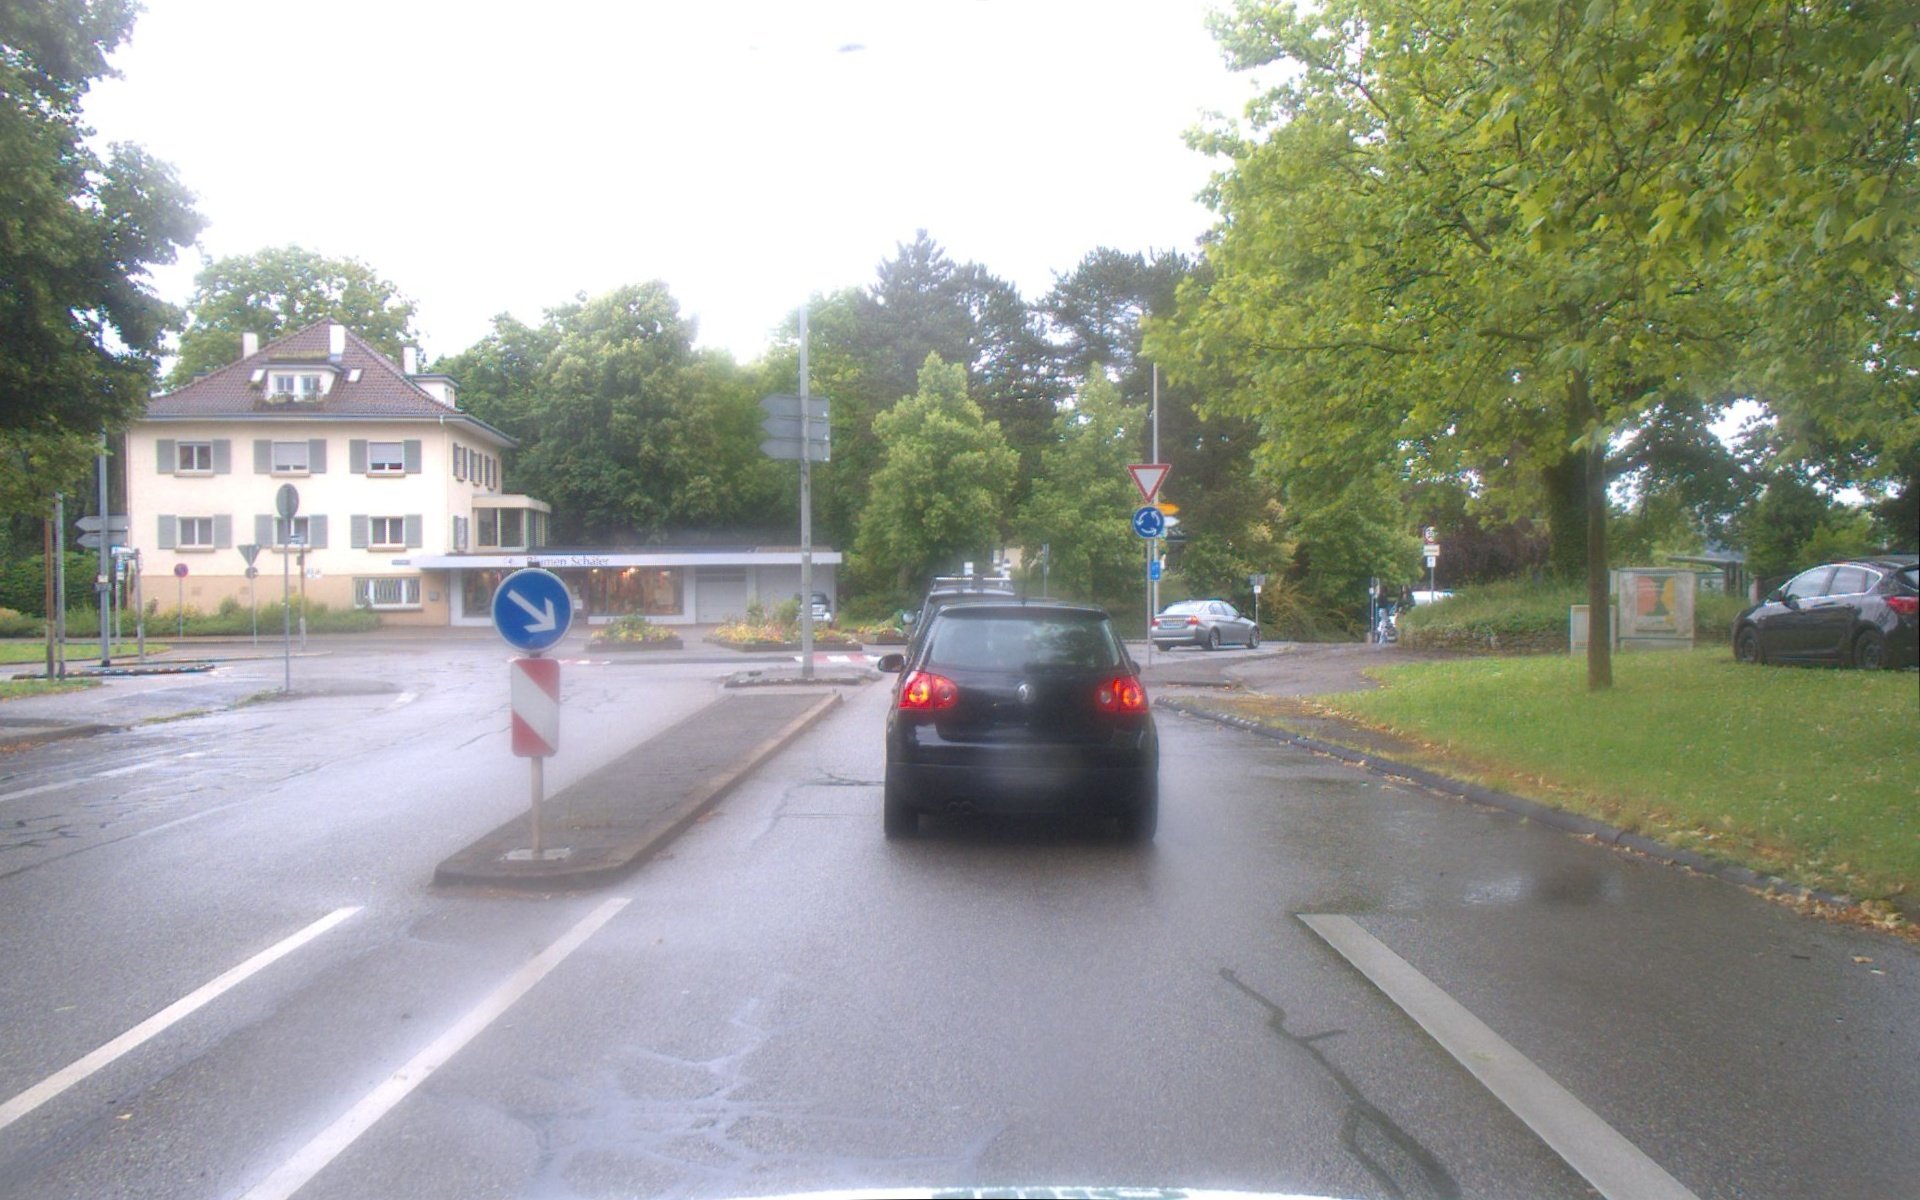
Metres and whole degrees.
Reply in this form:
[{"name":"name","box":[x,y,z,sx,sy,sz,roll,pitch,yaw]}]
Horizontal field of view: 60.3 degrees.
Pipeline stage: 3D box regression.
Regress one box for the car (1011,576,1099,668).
[{"name":"car","box":[2.028,0.458,35.799,1.728,1.833,4.247,-2,0,2]}]

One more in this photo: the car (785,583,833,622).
[{"name":"car","box":[-6.303,0.096,68.755,1.778,1.512,3.824,-2,0,-8]}]

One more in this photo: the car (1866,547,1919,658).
[{"name":"car","box":[13.855,-0.004,21.233,1.809,1.497,4.423,-2,0,-3]}]

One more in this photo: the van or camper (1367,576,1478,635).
[{"name":"van or camper","box":[19.518,0.261,69.640,2.163,2.420,5.630,0,-1,43]}]

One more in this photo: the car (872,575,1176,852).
[{"name":"car","box":[0.486,0.643,11.534,1.728,1.565,4.002,1,0,3]}]

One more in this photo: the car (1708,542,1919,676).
[{"name":"car","box":[11.457,0.082,20.885,1.729,1.497,4.595,-3,0,-3]}]

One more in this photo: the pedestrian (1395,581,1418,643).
[{"name":"pedestrian","box":[12.838,0.346,47.542,0.620,1.743,0.530,1,-1,15]}]

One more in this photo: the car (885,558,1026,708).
[{"name":"car","box":[-0.141,0.426,22.887,1.729,1.833,4.244,-2,0,-2]}]

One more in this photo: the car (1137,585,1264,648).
[{"name":"car","box":[6.904,0.471,47.205,1.960,1.713,4.017,0,-1,36]}]

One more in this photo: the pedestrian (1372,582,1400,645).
[{"name":"pedestrian","box":[12.070,0.384,46.832,0.519,1.743,0.633,1,-1,-16]}]
